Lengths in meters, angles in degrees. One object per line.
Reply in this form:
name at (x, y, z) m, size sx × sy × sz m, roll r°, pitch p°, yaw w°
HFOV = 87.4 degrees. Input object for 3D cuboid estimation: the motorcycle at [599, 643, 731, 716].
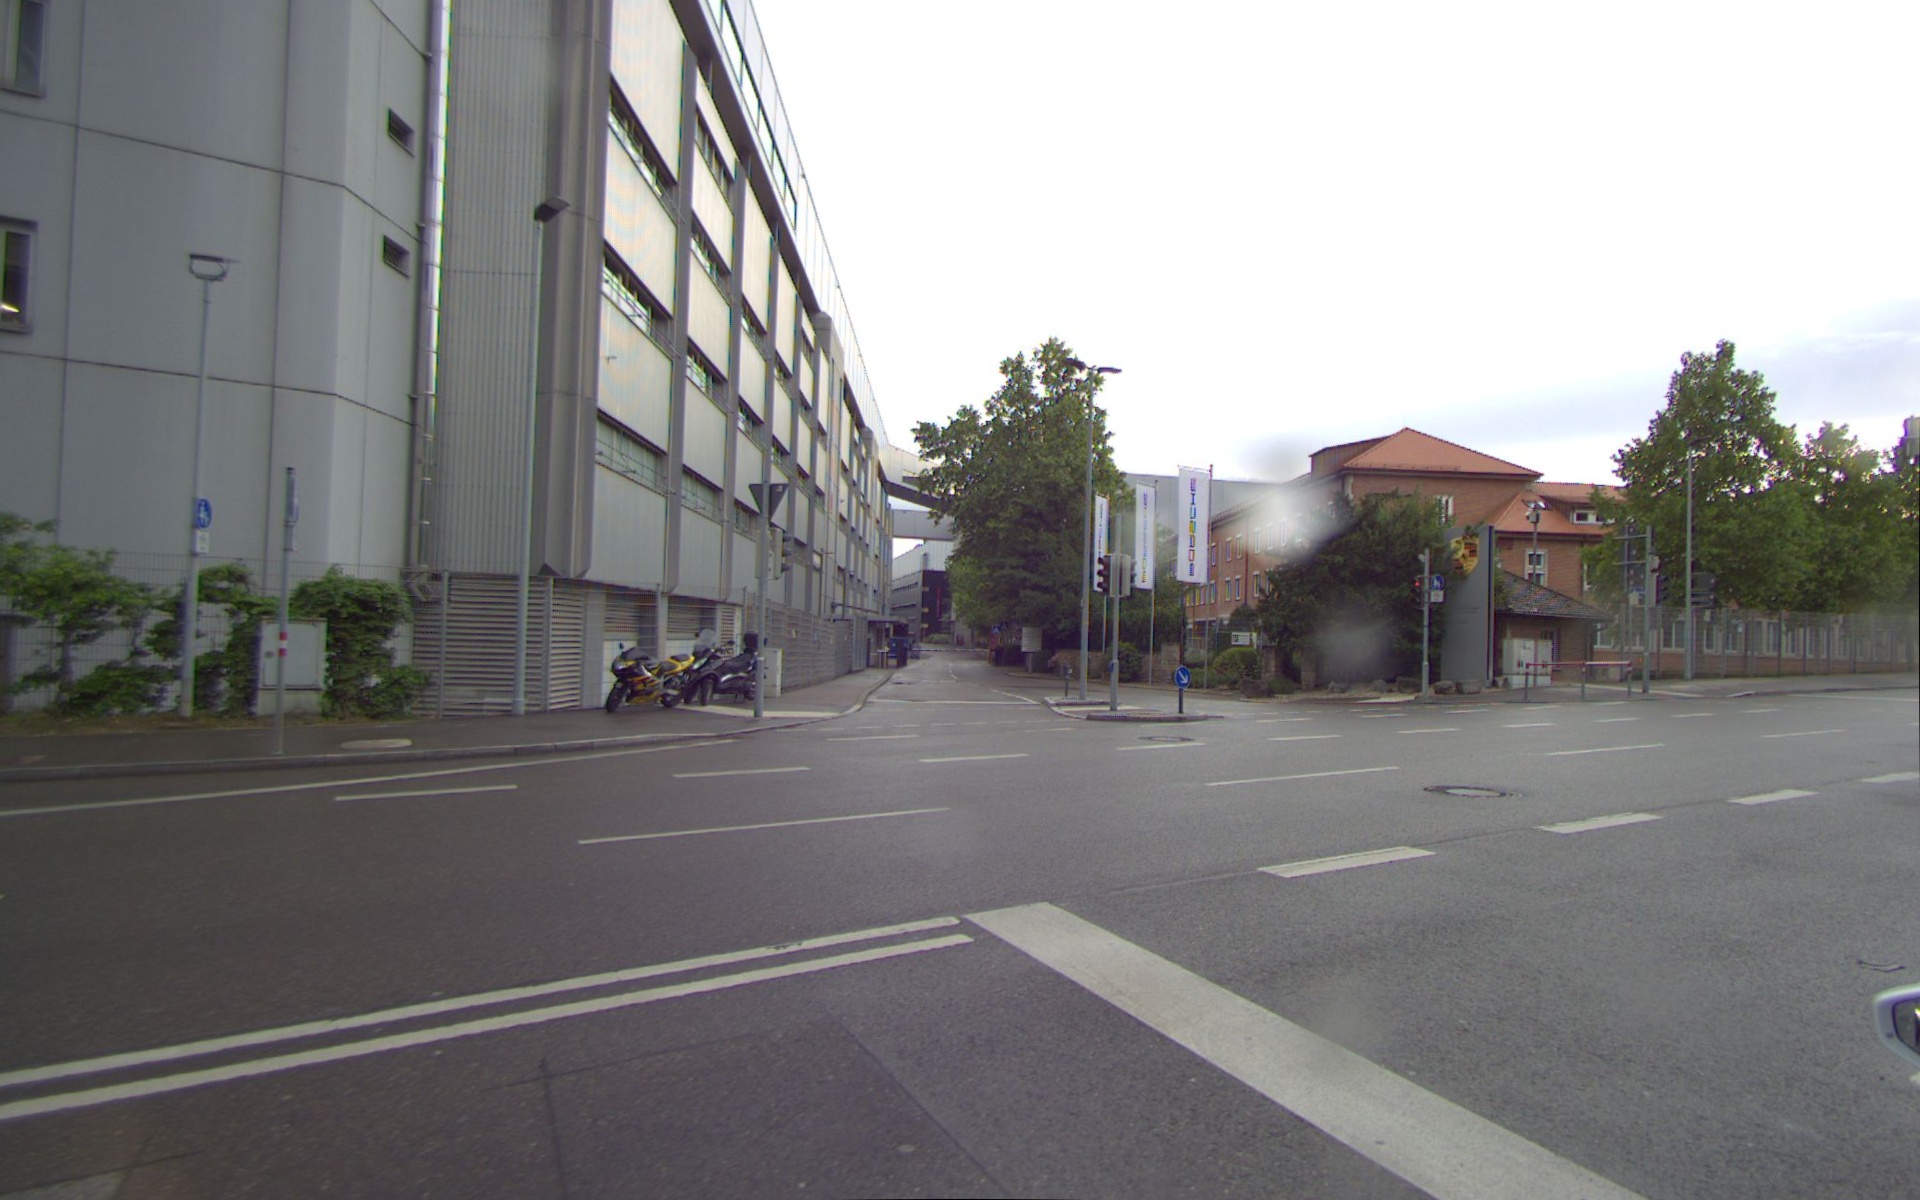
motorcycle at (-5.438, 1.430, 18.692) m, size 0.759 × 1.234 × 2.504 m, roll 0°, pitch -2°, yaw 30°

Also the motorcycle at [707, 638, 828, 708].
motorcycle at (-3.986, 1.496, 21.130) m, size 1.008 × 1.355 × 2.772 m, roll -1°, pitch -3°, yaw 27°

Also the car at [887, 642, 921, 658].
car at (-7.246, 6.441, 129.839) m, size 3.914 × 1.848 × 1.955 m, roll 3°, pitch 0°, yaw -31°
